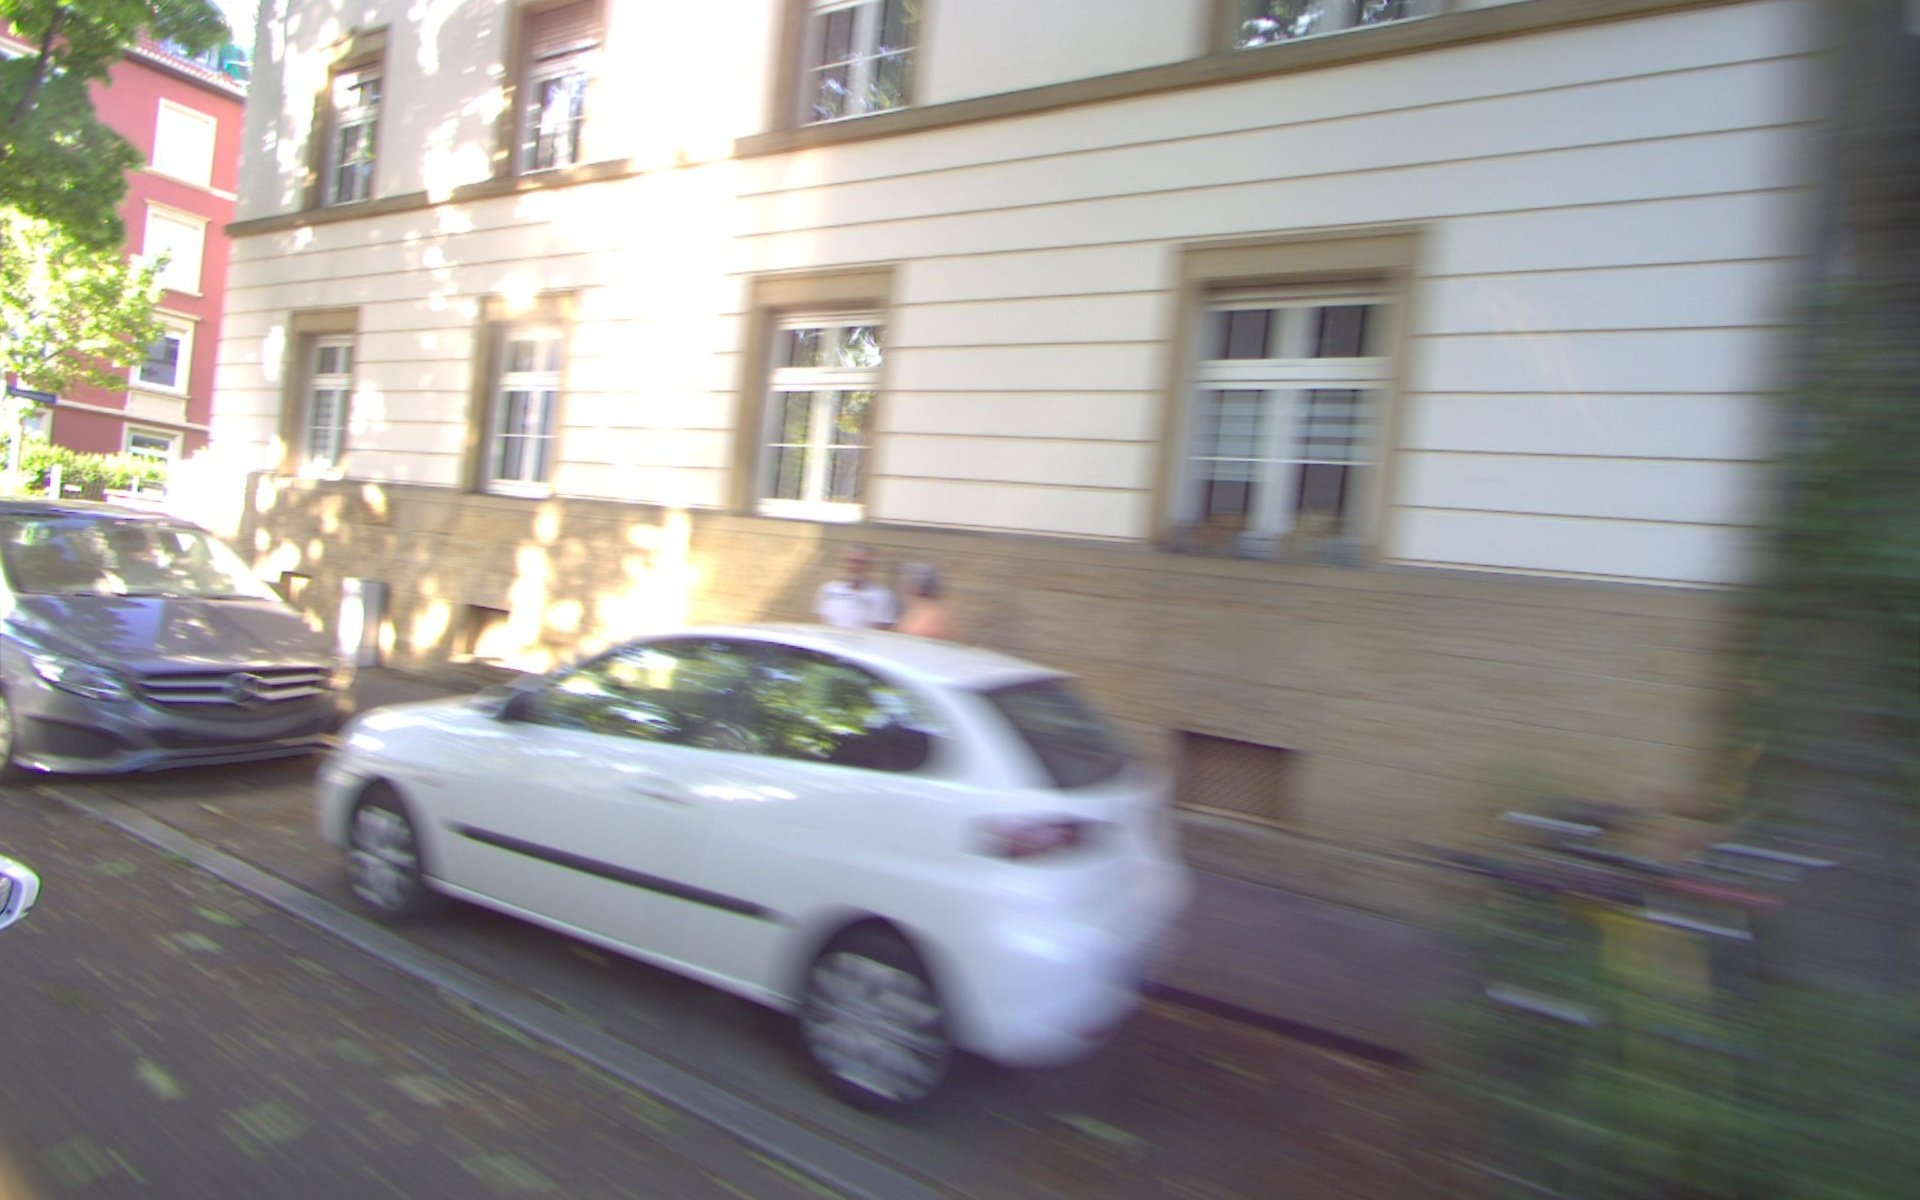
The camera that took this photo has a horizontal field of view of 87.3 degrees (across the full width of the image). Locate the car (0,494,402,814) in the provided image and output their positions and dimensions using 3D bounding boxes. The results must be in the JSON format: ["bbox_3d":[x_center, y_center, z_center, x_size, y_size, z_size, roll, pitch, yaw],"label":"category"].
[{"bbox_3d":[-6.048,0.133,6.814,4.333,1.570,1.793,6,0,28],"label":"car"}]

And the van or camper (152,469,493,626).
[{"bbox_3d":[-13.337,-1.003,21.412,2.113,2.476,5.582,10,1,40],"label":"van or camper"}]

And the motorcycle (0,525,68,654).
[{"bbox_3d":[-10.209,-0.158,10.051,0.498,1.282,1.845,8,2,44],"label":"motorcycle"}]

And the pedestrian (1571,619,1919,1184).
[{"bbox_3d":[2.862,1.001,3.706,0.863,1.757,0.520,7,1,32],"label":"pedestrian"}]

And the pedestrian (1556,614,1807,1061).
[{"bbox_3d":[3.128,0.969,4.435,0.677,1.723,0.596,7,1,32],"label":"pedestrian"}]

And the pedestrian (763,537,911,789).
[{"bbox_3d":[-0.911,0.454,7.463,0.744,1.726,0.490,7,0,29],"label":"pedestrian"}]

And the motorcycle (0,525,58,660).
[{"bbox_3d":[-9.624,-0.107,9.476,0.609,1.282,1.504,7,1,30],"label":"motorcycle"}]

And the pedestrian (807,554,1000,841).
[{"bbox_3d":[-0.369,0.610,6.737,0.860,1.716,0.778,7,2,30],"label":"pedestrian"}]

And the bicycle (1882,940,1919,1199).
[{"bbox_3d":[2.655,1.513,2.146,0.596,1.052,1.773,7,-1,30],"label":"bicycle"}]

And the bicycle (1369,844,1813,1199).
[{"bbox_3d":[1.663,1.373,2.815,0.721,0.961,1.717,7,1,30],"label":"bicycle"}]

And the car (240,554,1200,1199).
[{"bbox_3d":[-1.108,0.793,4.383,3.802,1.496,1.614,7,0,26],"label":"car"}]
